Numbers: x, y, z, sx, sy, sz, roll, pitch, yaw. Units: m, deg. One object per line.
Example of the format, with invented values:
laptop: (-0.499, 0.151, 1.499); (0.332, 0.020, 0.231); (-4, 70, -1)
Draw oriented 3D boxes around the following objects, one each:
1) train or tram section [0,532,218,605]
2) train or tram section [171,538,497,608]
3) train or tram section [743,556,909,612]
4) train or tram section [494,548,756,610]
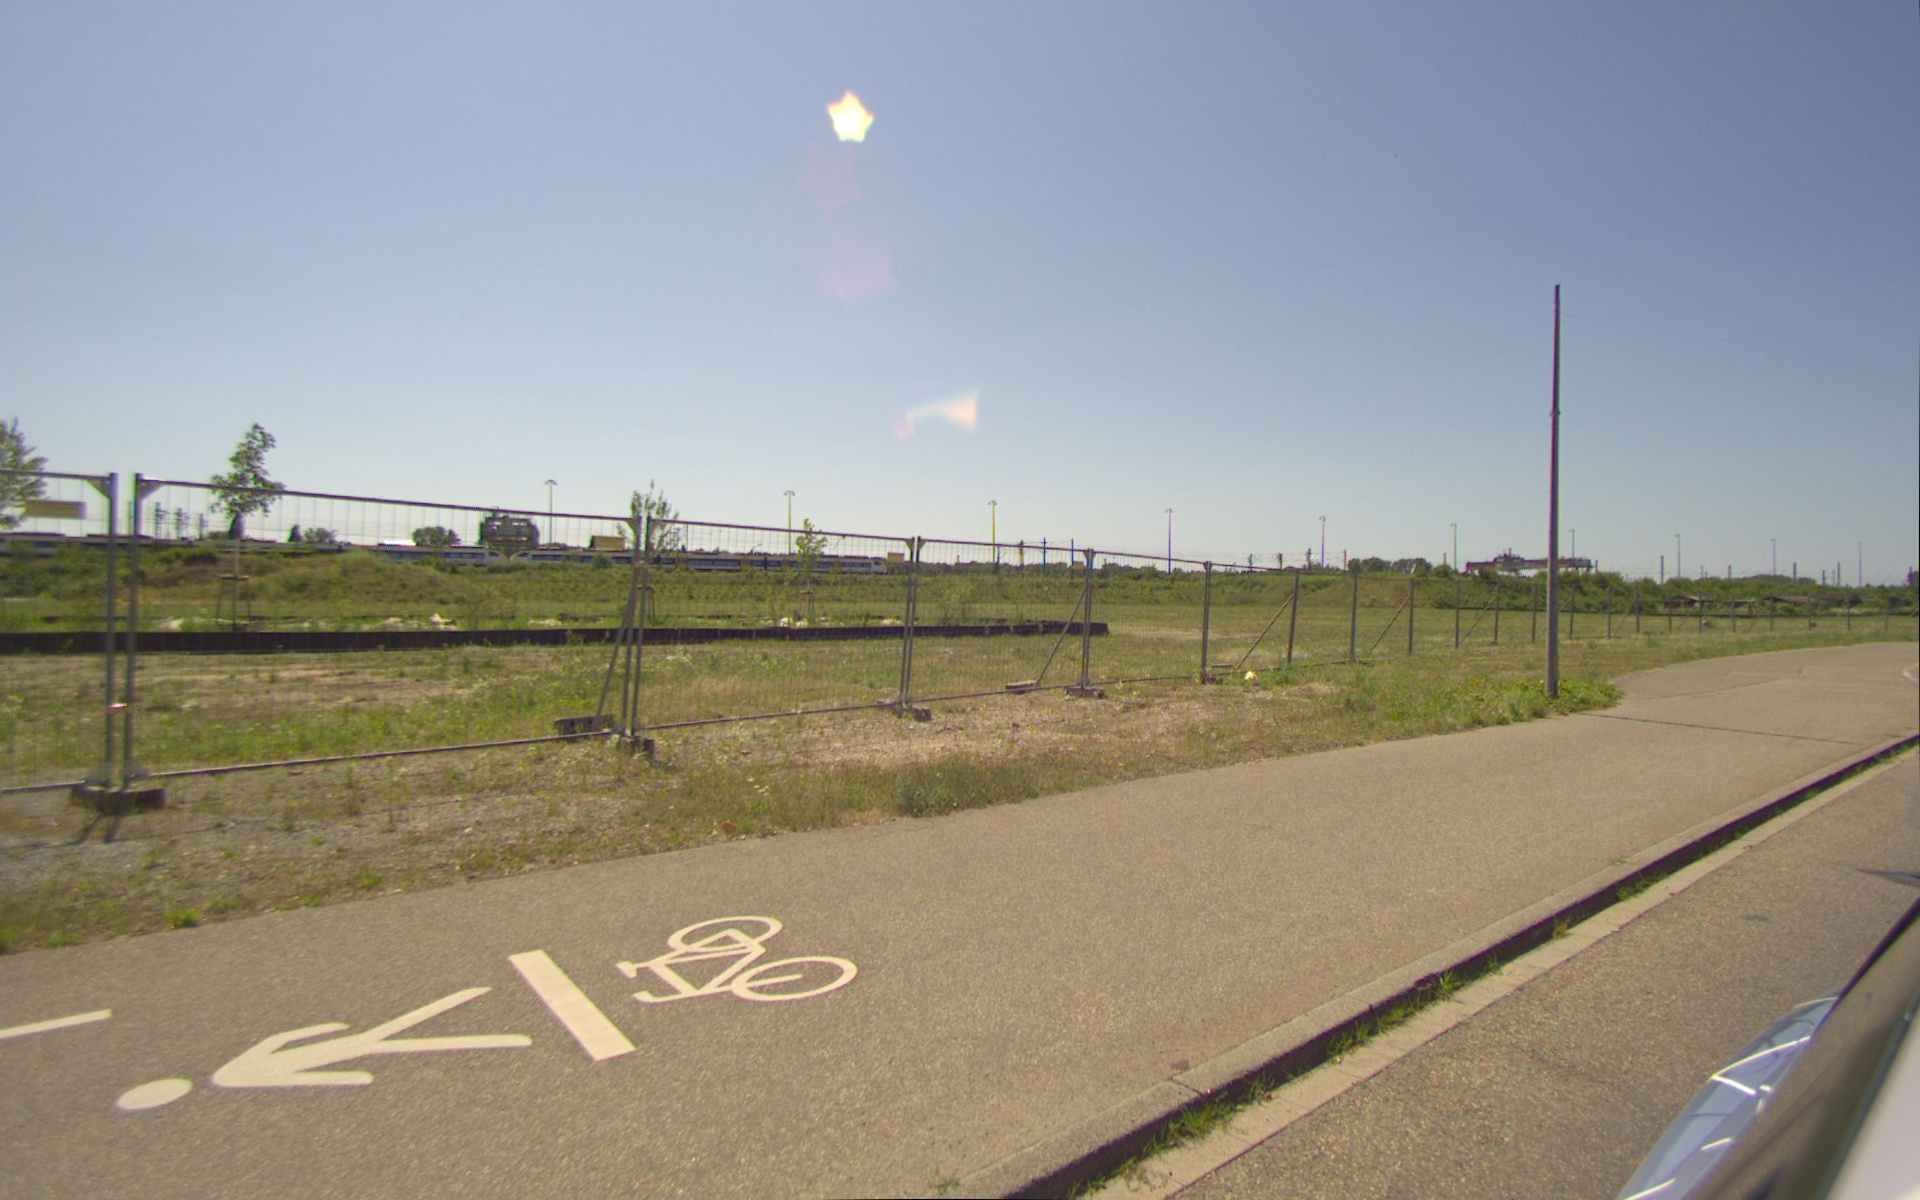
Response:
train or tram section: (-128.414, -4.390, 151.326); (26.440, 10.052, 9.617); (1, -1, -24)
train or tram section: (-99.528, -3.932, 164.427); (43.853, 10.052, 9.616); (1, -1, -25)
train or tram section: (-25.988, -2.928, 197.604); (30.563, 10.052, 9.617); (1, -1, -24)
train or tram section: (-59.781, -3.444, 182.568); (43.853, 10.052, 9.616); (1, -1, -25)
